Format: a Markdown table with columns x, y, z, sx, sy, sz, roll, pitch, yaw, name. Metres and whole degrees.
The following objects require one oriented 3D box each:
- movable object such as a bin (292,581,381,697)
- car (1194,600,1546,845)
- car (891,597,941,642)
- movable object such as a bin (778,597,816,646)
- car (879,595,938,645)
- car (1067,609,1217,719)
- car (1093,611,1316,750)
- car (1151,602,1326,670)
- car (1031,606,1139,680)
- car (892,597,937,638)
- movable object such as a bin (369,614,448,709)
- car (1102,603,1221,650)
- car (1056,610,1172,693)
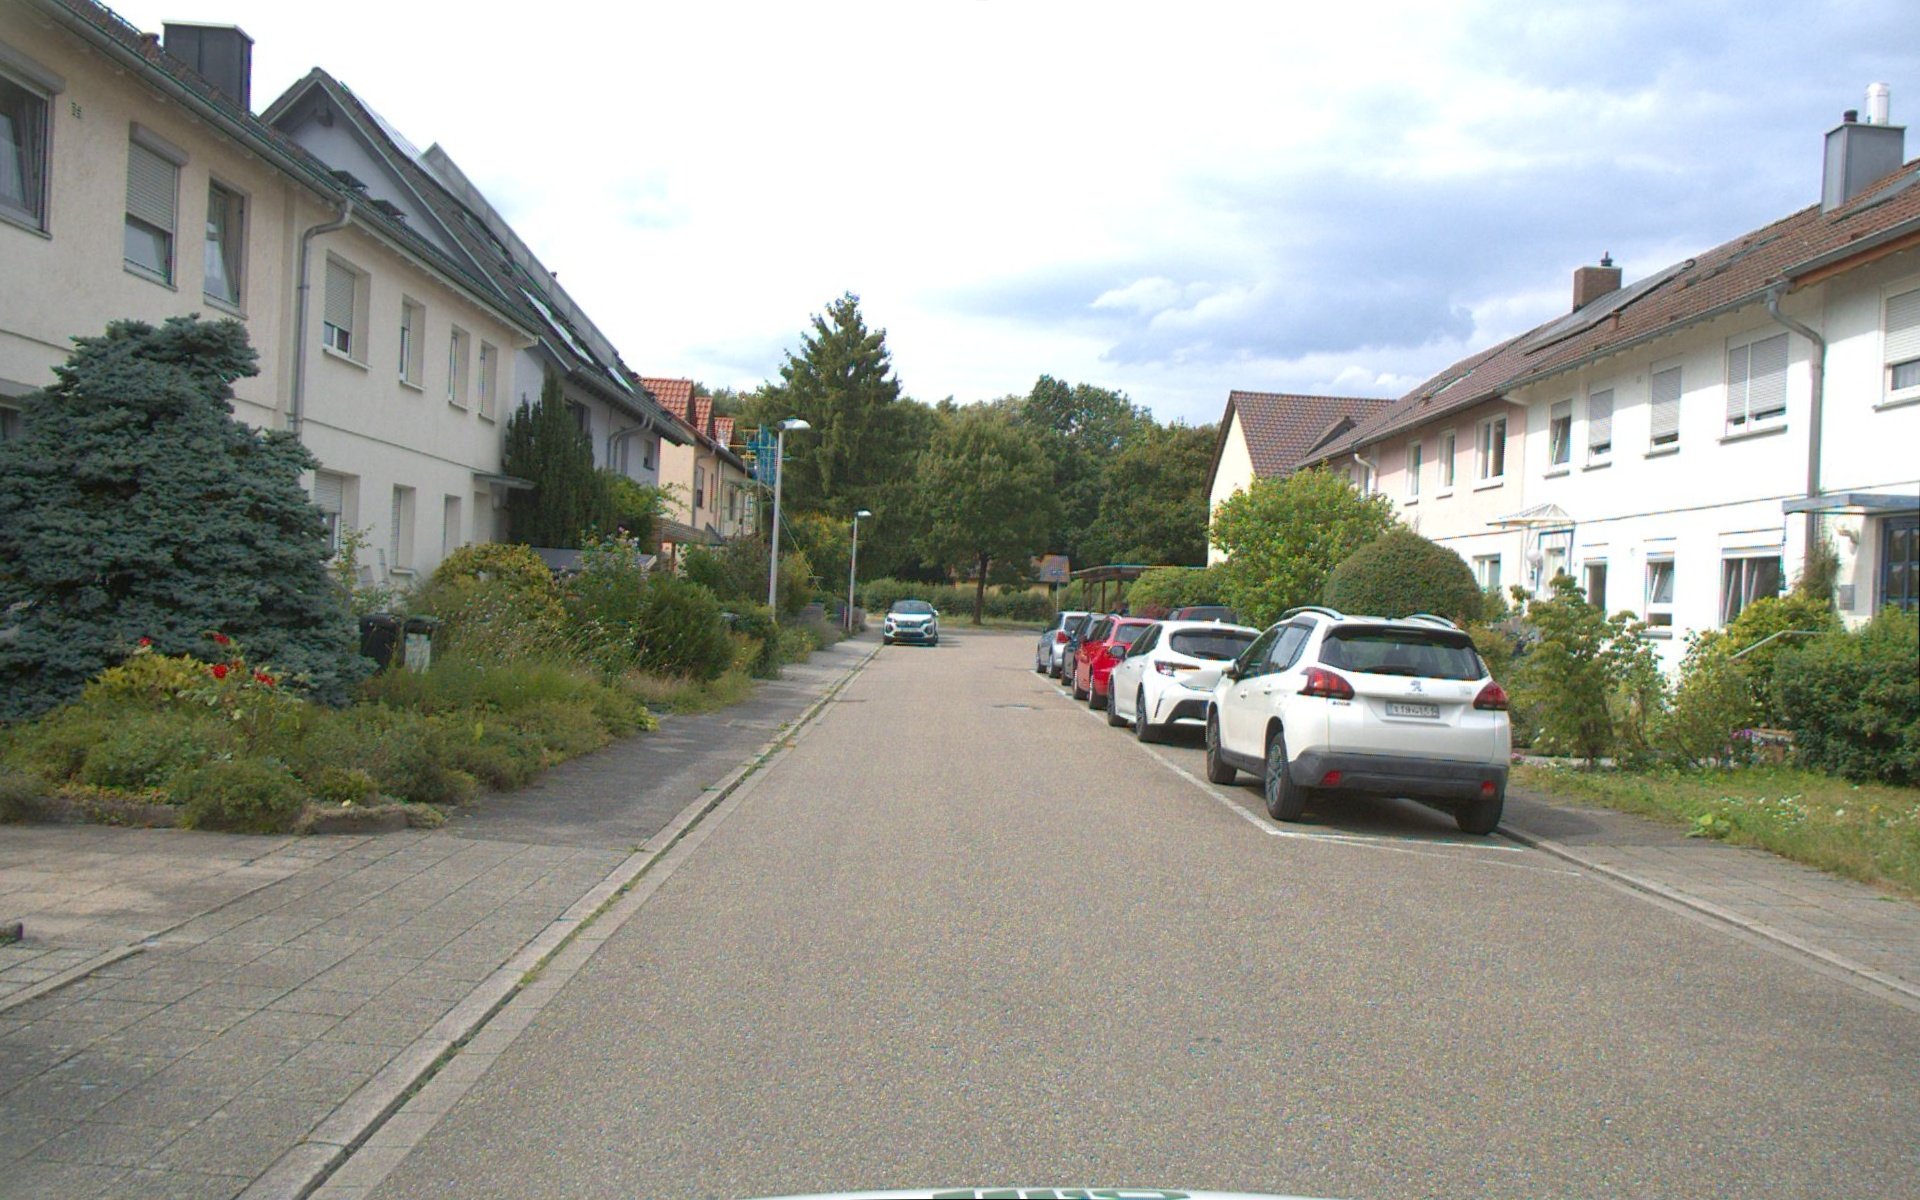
| x | y | z | sx | sy | sz | roll | pitch | yaw | name |
| --- | --- | --- | --- | --- | --- | --- | --- | --- | --- |
| -7.069 | 0.435 | 18.774 | 0.682 | 1.261 | 0.734 | 2 | 0 | -1 | movable object such as a bin |
| 3.138 | 0.855 | 13.496 | 1.679 | 1.570 | 3.972 | 4 | 0 | -2 | car |
| -1.667 | 0.702 | 63.307 | 1.773 | 1.589 | 4.847 | 2 | 0 | -1 | car |
| -4.529 | 0.593 | 46.024 | 0.930 | 1.335 | 1.000 | 2 | 0 | -2 | movable object such as a bin |
| -1.770 | 0.664 | 57.906 | 1.894 | 1.583 | 4.634 | 2 | 0 | 0 | car |
| 2.831 | 0.956 | 26.762 | 1.738 | 1.460 | 4.825 | 4 | 0 | -1 | car |
| 2.916 | 0.911 | 20.749 | 1.801 | 1.437 | 4.633 | 2 | 0 | -4 | car |
| 7.203 | 0.922 | 42.997 | 4.183 | 1.587 | 1.934 | 2 | 0 | -1 | car |
| 2.731 | 0.922 | 37.093 | 1.828 | 1.441 | 4.250 | 3 | 0 | -3 | car |
| -1.861 | 0.695 | 68.763 | 1.755 | 1.558 | 4.139 | 2 | 0 | 0 | car |
| -6.196 | 0.680 | 18.597 | 0.661 | 1.025 | 0.598 | 2 | 0 | -1 | movable object such as a bin |
| 7.338 | 0.955 | 60.447 | 3.966 | 1.549 | 1.949 | 2 | 0 | -4 | car |
| 2.868 | 0.929 | 31.597 | 1.737 | 1.379 | 4.265 | 2 | 0 | 0 | car |
